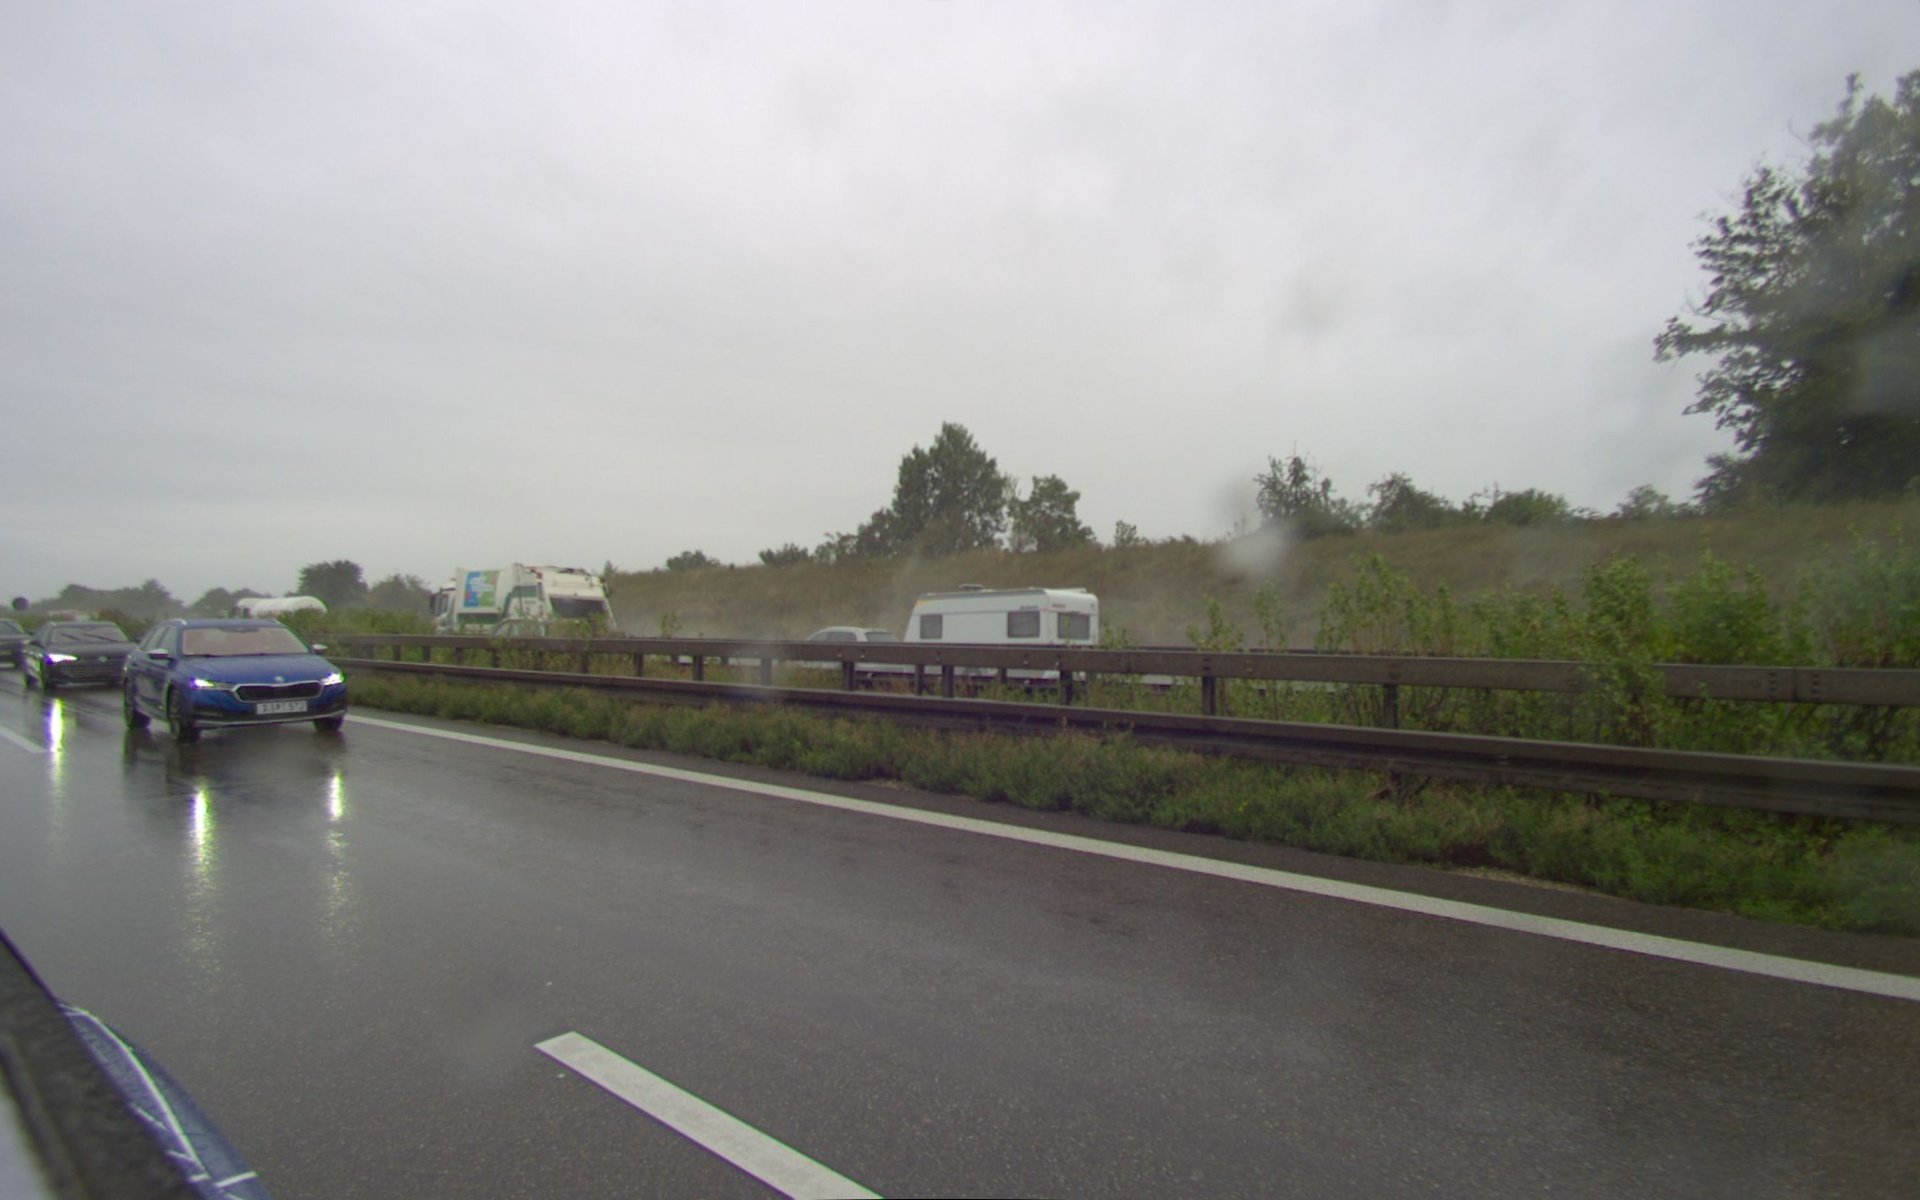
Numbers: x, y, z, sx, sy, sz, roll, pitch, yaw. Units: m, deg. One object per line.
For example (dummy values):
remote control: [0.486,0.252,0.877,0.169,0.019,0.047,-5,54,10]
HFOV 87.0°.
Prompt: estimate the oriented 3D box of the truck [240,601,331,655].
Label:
truck: [-44.380,1.768,66.434,9.344,3.323,2.528,0,-2,41]

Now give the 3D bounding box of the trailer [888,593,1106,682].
trailer: [0.835,0.873,25.595,5.347,2.029,2.070,0,-2,41]

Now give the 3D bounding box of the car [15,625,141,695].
car: [-20.248,1.316,23.171,4.368,1.447,1.592,-2,-2,41]

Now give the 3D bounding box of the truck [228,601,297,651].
truck: [-47.907,1.783,69.501,5.195,3.305,2.515,0,-3,40]

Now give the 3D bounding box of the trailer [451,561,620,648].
trailer: [-14.822,0.170,35.014,7.322,2.740,2.455,0,-2,42]

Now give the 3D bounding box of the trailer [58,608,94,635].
trailer: [-102.403,2.506,117.211,8.867,3.105,1.973,-2,-1,41]

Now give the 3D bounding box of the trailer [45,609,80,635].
trailer: [-109.342,2.687,123.262,9.549,3.105,1.973,-2,-1,41]

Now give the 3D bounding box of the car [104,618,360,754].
car: [-9.709,1.009,13.352,4.509,1.487,1.767,-2,-2,41]

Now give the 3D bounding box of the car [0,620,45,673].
car: [-31.605,1.506,33.181,4.266,1.644,1.864,-2,-2,41]

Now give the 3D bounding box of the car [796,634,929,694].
car: [-2.786,1.759,28.433,3.659,1.549,1.657,-2,-2,41]

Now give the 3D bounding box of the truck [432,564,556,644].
truck: [-17.098,0.158,37.075,4.527,2.740,2.455,0,-2,42]
